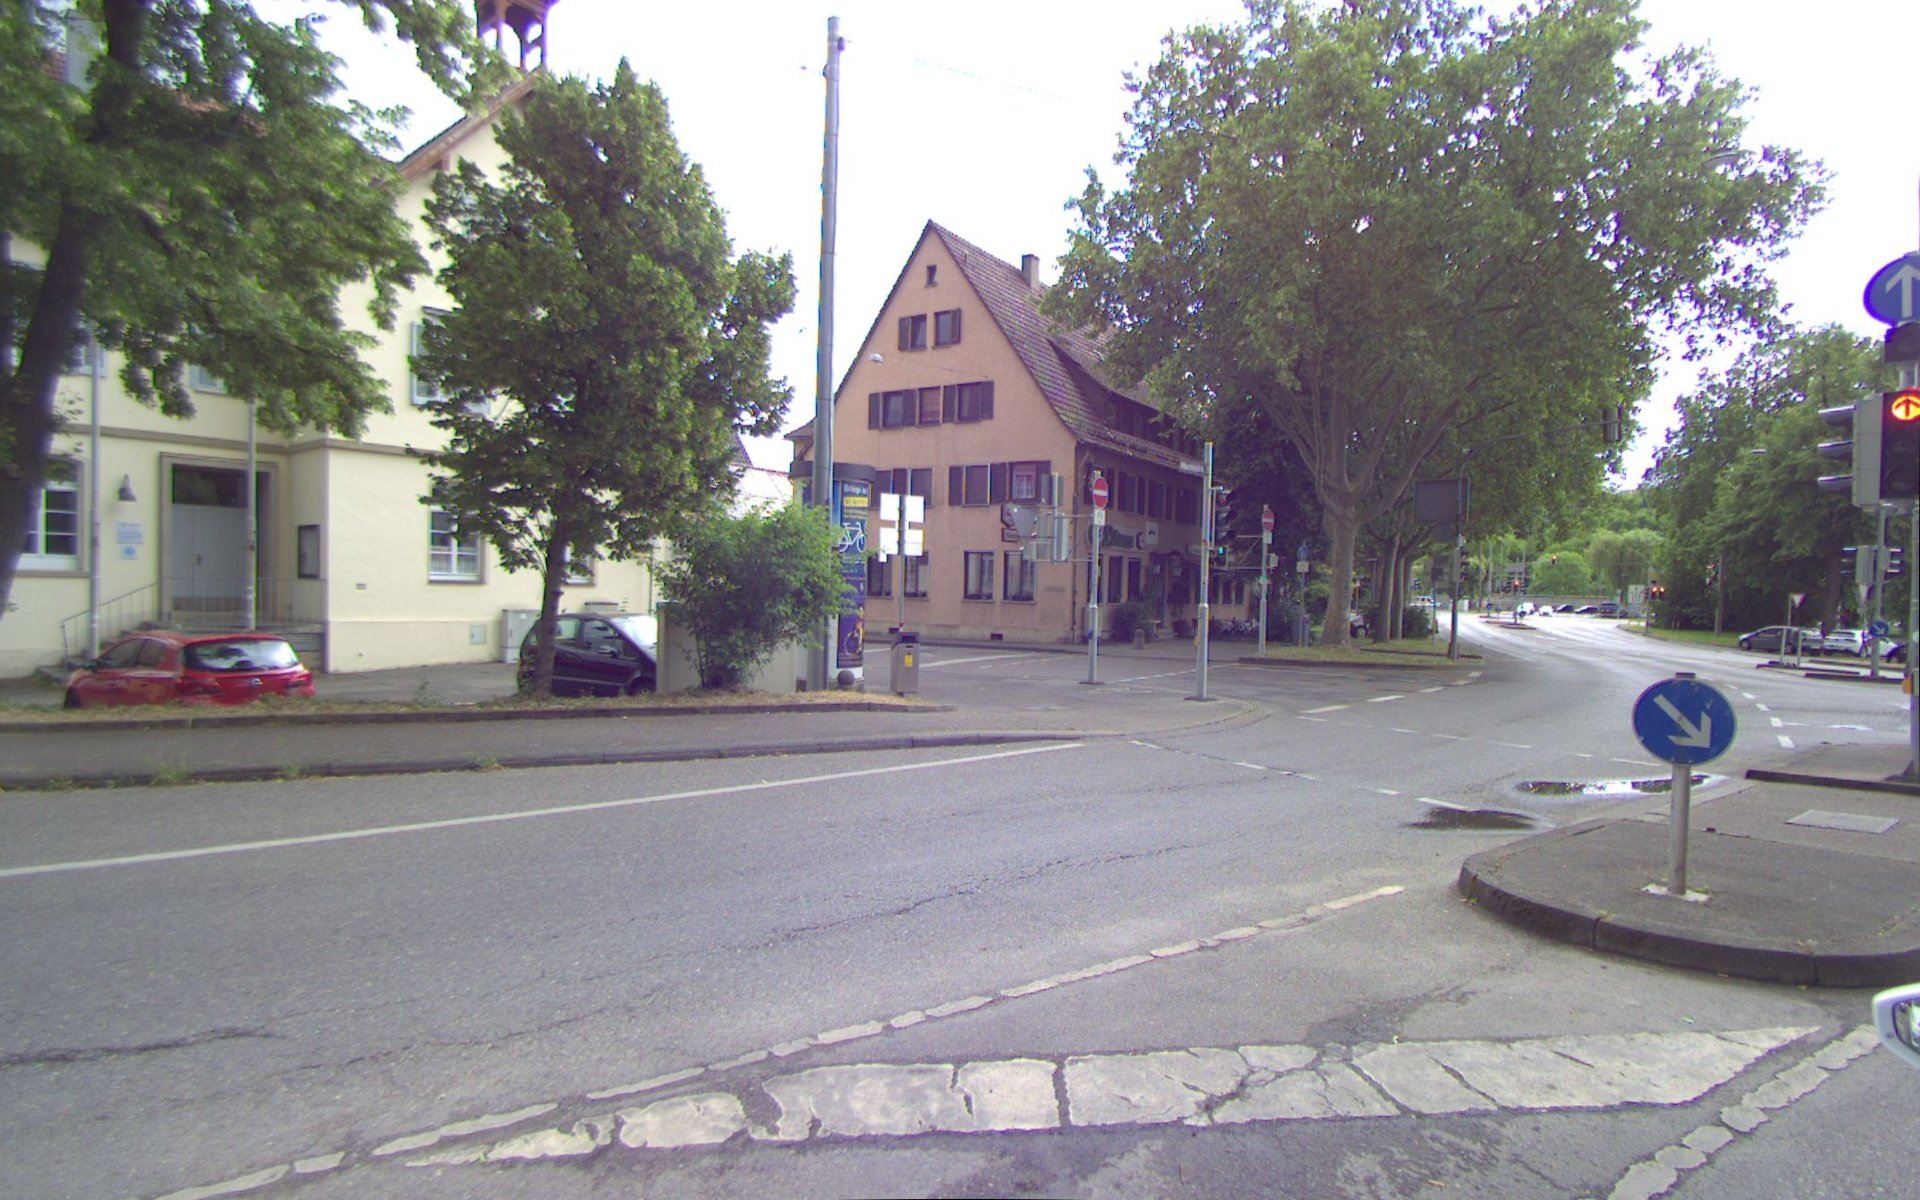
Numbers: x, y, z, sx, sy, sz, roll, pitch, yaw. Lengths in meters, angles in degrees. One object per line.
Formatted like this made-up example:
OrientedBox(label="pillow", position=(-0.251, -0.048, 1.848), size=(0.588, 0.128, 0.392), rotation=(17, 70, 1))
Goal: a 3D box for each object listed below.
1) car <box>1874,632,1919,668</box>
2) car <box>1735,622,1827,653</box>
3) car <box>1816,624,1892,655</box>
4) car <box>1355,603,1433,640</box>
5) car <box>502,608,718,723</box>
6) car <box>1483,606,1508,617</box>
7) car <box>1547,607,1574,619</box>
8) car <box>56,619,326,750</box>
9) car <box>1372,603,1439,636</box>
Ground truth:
OrientedBox(label="car", position=(39.576, 2.077, 40.945), size=(1.442, 1.412, 3.596), rotation=(2, 0, 3))
OrientedBox(label="car", position=(43.871, 1.968, 53.760), size=(1.559, 1.484, 3.543), rotation=(2, 0, -17))
OrientedBox(label="car", position=(47.310, 2.081, 53.160), size=(3.342, 1.484, 1.543), rotation=(2, 0, -19))
OrientedBox(label="car", position=(21.416, 1.048, 49.584), size=(3.387, 1.663, 1.570), rotation=(2, 0, 28))
OrientedBox(label="car", position=(-5.758, 1.007, 16.597), size=(3.035, 1.654, 1.607), rotation=(2, 0, 22))
OrientedBox(label="car", position=(100.731, 2.129, 188.932), size=(3.928, 2.040, 1.996), rotation=(2, 0, 30))
OrientedBox(label="car", position=(108.245, 2.317, 181.086), size=(3.928, 2.040, 1.996), rotation=(2, 0, 30))
OrientedBox(label="car", position=(-10.170, 1.014, 13.249), size=(3.492, 1.397, 1.605), rotation=(2, 0, 30))
OrientedBox(label="car", position=(25.477, 1.087, 57.468), size=(3.387, 1.765, 1.570), rotation=(2, 0, 28))
